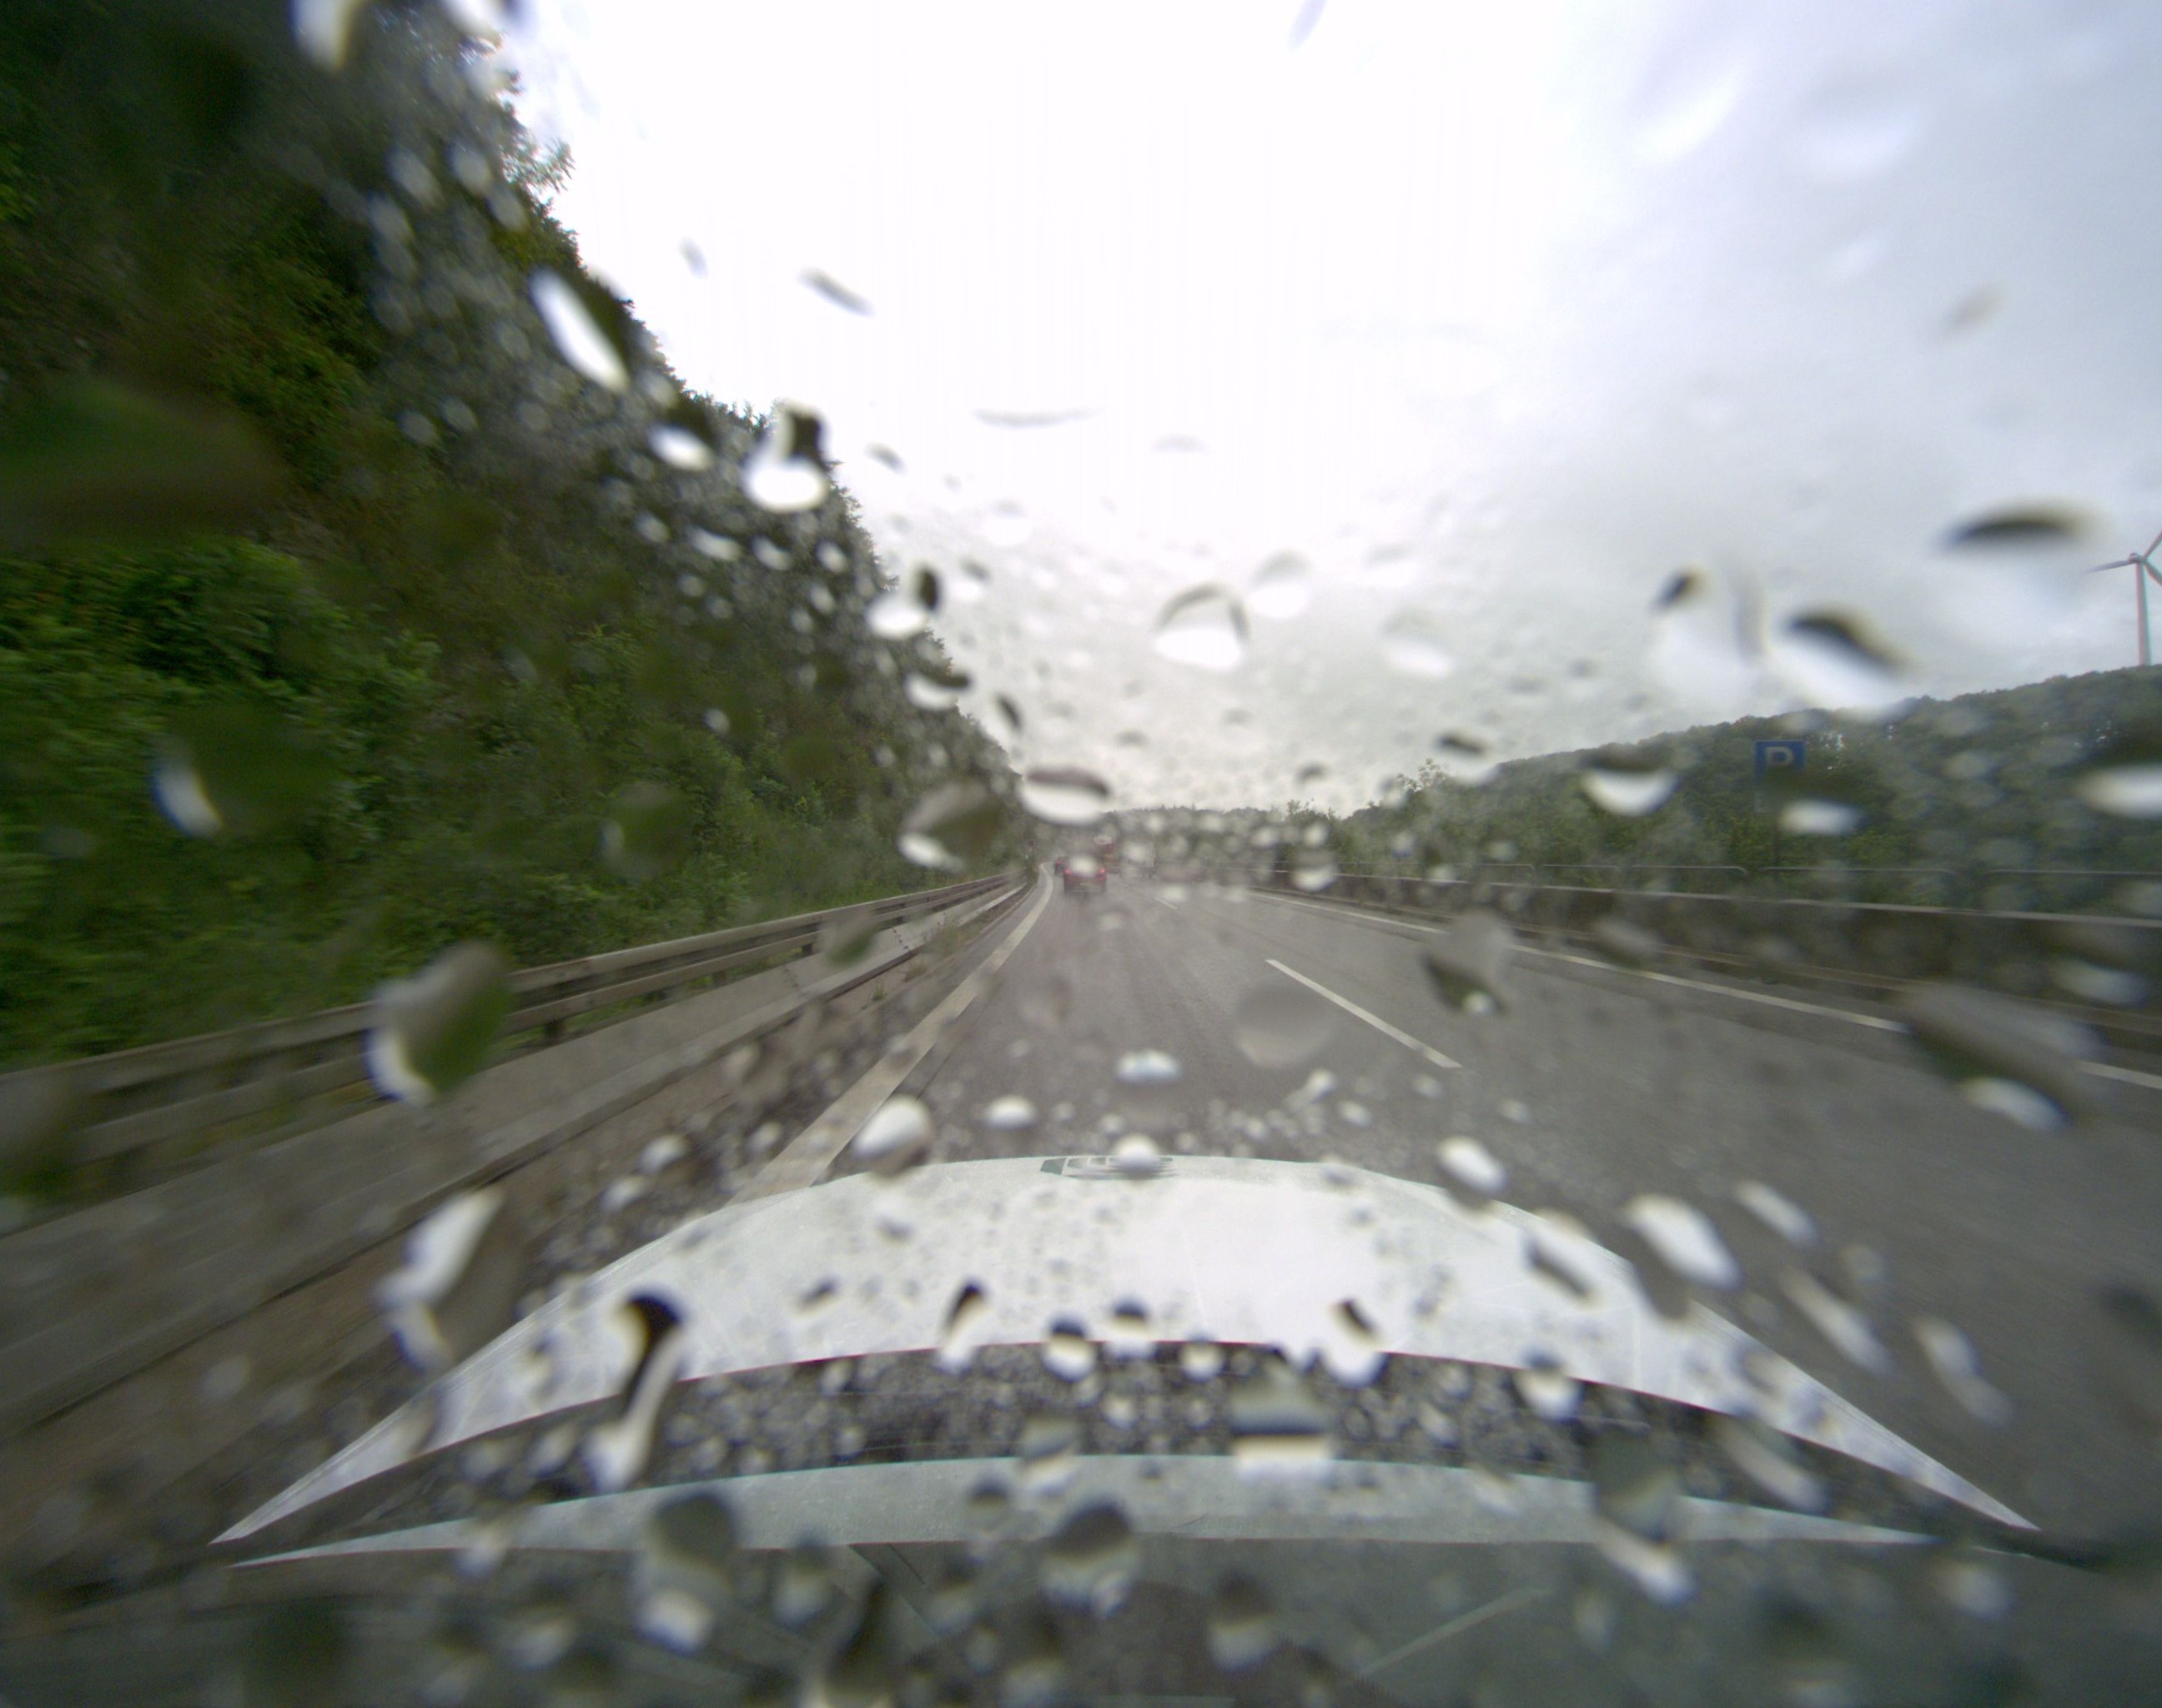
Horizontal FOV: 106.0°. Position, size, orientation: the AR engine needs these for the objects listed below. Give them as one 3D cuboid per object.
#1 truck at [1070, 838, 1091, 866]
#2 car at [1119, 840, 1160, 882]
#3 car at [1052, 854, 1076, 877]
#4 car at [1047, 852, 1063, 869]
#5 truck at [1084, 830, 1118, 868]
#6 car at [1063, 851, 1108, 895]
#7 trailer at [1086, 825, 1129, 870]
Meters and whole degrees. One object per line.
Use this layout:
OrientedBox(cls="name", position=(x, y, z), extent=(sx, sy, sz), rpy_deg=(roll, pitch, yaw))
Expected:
OrientedBox(cls="truck", position=(-0.065, -0.269, 139.191), extent=(3.215, 4.682, 8.292), rpy_deg=(-1, -1, -2))
OrientedBox(cls="car", position=(4.210, 0.527, 59.642), extent=(2.200, 2.794, 7.378), rpy_deg=(3, 0, -1))
OrientedBox(cls="car", position=(-1.280, 0.922, 63.132), extent=(1.817, 1.696, 3.998), rpy_deg=(-1, -1, -1))
OrientedBox(cls="car", position=(-2.881, 0.707, 89.799), extent=(1.712, 1.817, 3.887), rpy_deg=(-1, -1, -4))
OrientedBox(cls="truck", position=(2.119, -0.510, 88.231), extent=(3.212, 3.978, 5.433), rpy_deg=(1, -1, -3))
OrientedBox(cls="car", position=(0.133, 0.770, 33.964), extent=(1.753, 1.684, 3.997), rpy_deg=(-1, -1, -2))
OrientedBox(cls="trailer", position=(2.444, -0.541, 80.799), extent=(3.211, 3.999, 13.509), rpy_deg=(1, 0, -3))
